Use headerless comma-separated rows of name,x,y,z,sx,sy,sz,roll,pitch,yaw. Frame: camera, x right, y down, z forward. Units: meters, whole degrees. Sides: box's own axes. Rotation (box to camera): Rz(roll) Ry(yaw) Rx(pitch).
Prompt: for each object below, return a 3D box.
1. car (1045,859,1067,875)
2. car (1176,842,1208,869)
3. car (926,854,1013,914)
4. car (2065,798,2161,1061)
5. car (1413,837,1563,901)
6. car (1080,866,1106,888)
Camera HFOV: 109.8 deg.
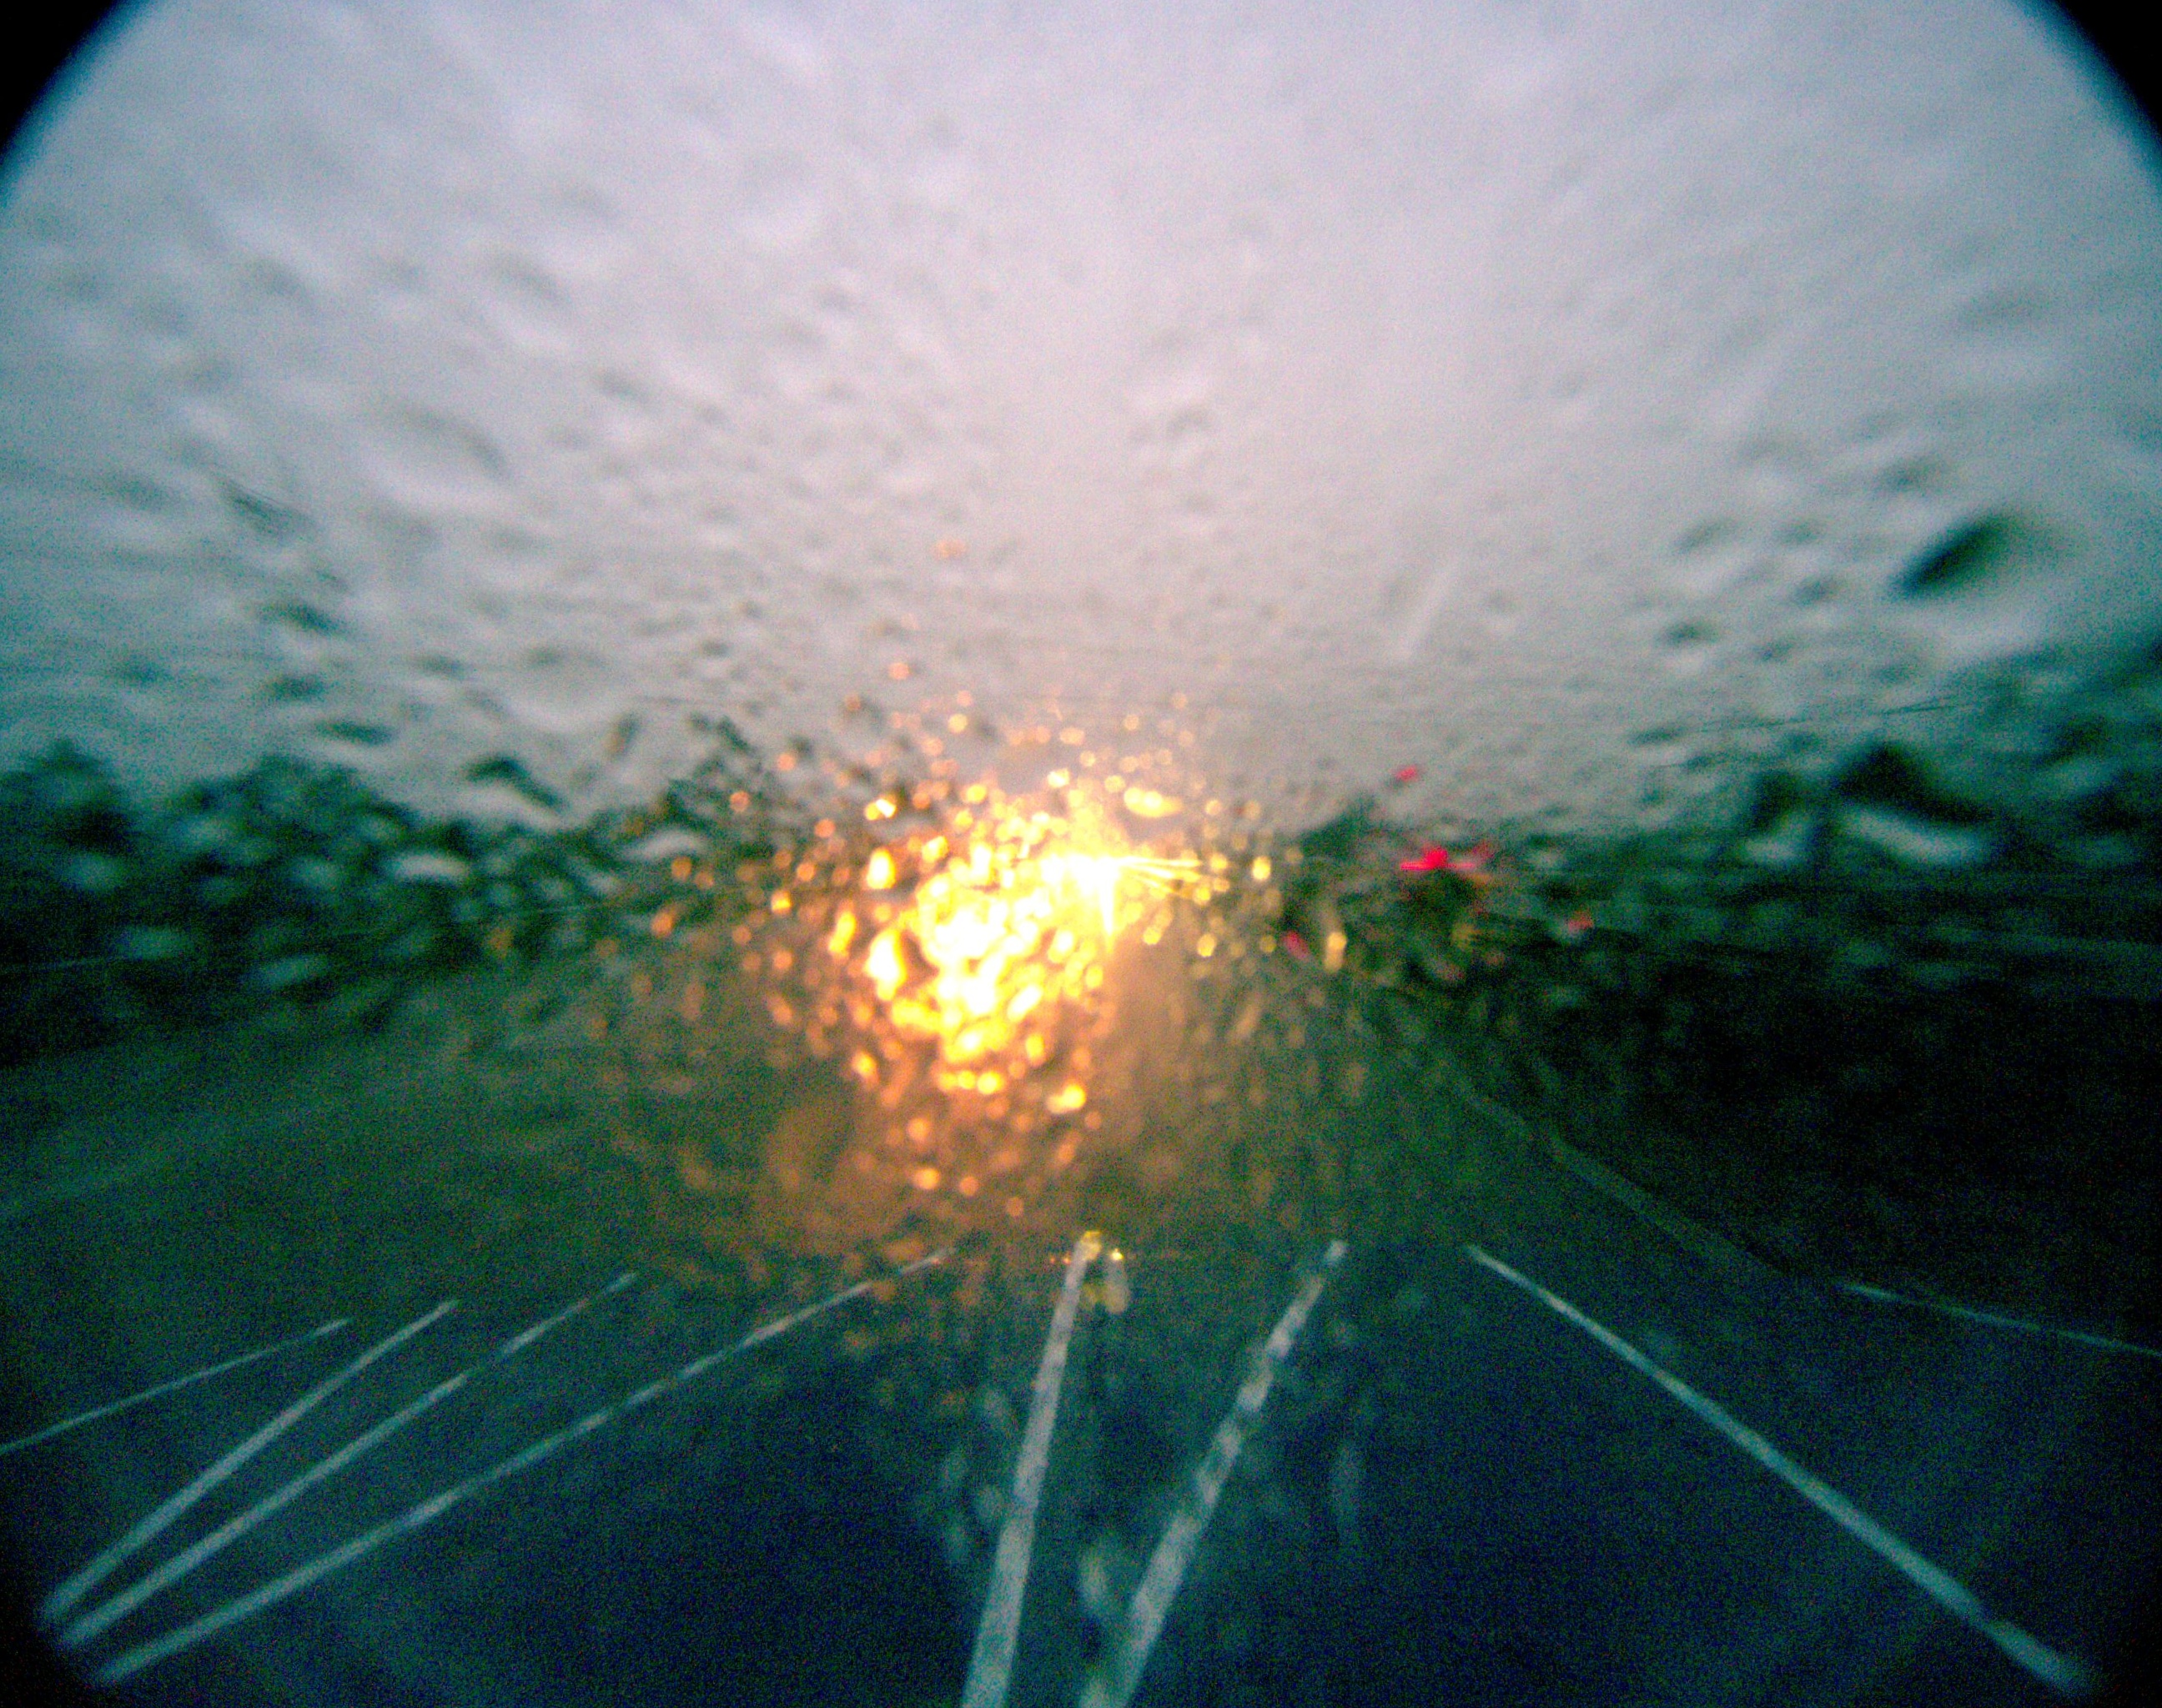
car,-2.549,1.354,77.643,1.849,1.520,4.151,-1,-1,4
car,8.692,0.097,59.641,1.998,2.002,4.000,-1,0,1
car,-3.182,0.811,22.512,1.850,1.445,4.147,-2,1,1
car,8.369,0.502,3.234,2.169,1.781,4.809,-1,0,1
car,12.519,0.415,23.785,2.169,1.781,4.809,-1,0,1
car,0.972,1.728,57.613,1.850,1.520,4.150,-1,-1,3
